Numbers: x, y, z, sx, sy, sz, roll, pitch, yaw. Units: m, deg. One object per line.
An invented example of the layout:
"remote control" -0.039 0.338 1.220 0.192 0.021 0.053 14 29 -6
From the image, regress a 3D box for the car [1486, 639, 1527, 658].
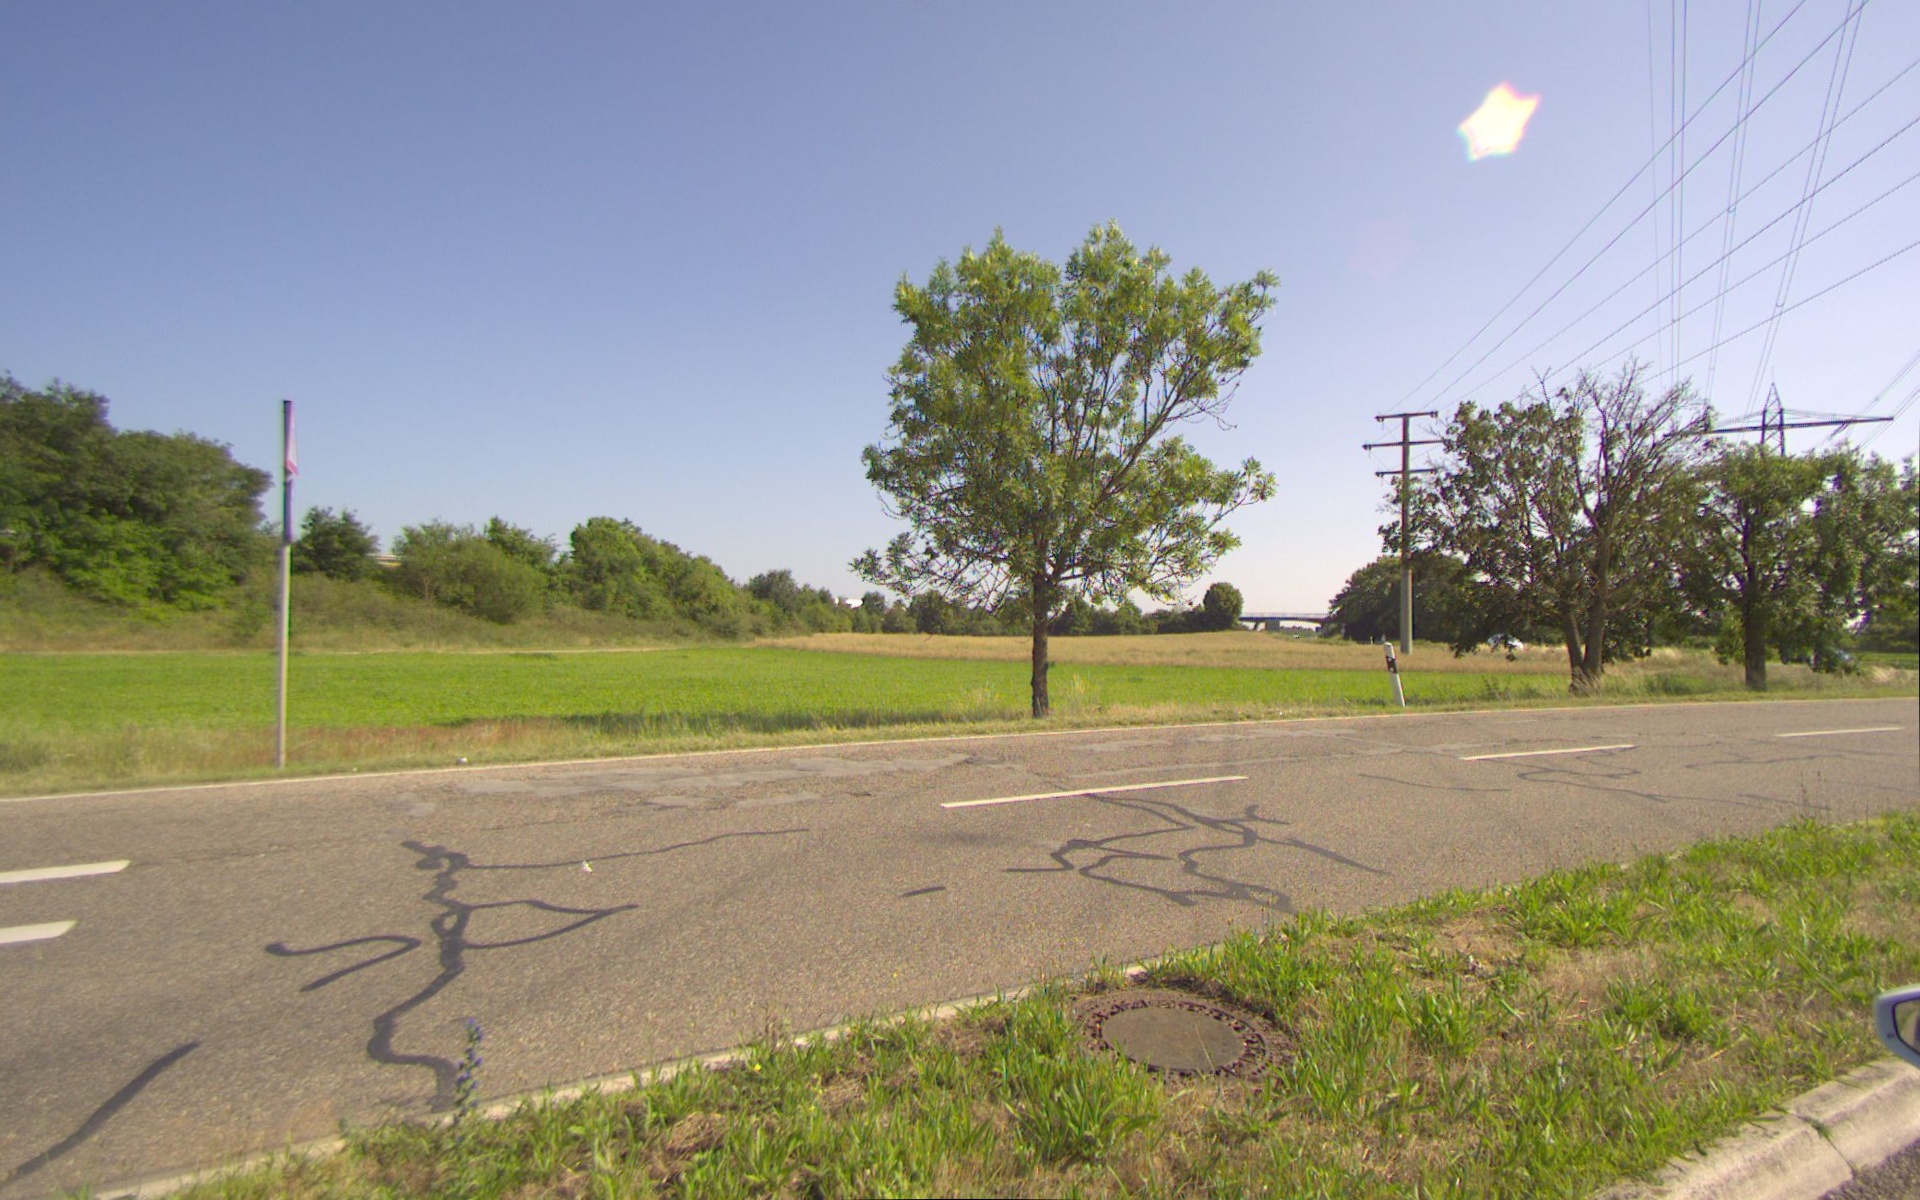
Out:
"car" 52.528 4.679 96.629 1.783 1.673 4.764 1 -1 6

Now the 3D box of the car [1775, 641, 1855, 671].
"car" 52.624 3.407 61.902 1.783 1.673 4.003 1 -1 6
